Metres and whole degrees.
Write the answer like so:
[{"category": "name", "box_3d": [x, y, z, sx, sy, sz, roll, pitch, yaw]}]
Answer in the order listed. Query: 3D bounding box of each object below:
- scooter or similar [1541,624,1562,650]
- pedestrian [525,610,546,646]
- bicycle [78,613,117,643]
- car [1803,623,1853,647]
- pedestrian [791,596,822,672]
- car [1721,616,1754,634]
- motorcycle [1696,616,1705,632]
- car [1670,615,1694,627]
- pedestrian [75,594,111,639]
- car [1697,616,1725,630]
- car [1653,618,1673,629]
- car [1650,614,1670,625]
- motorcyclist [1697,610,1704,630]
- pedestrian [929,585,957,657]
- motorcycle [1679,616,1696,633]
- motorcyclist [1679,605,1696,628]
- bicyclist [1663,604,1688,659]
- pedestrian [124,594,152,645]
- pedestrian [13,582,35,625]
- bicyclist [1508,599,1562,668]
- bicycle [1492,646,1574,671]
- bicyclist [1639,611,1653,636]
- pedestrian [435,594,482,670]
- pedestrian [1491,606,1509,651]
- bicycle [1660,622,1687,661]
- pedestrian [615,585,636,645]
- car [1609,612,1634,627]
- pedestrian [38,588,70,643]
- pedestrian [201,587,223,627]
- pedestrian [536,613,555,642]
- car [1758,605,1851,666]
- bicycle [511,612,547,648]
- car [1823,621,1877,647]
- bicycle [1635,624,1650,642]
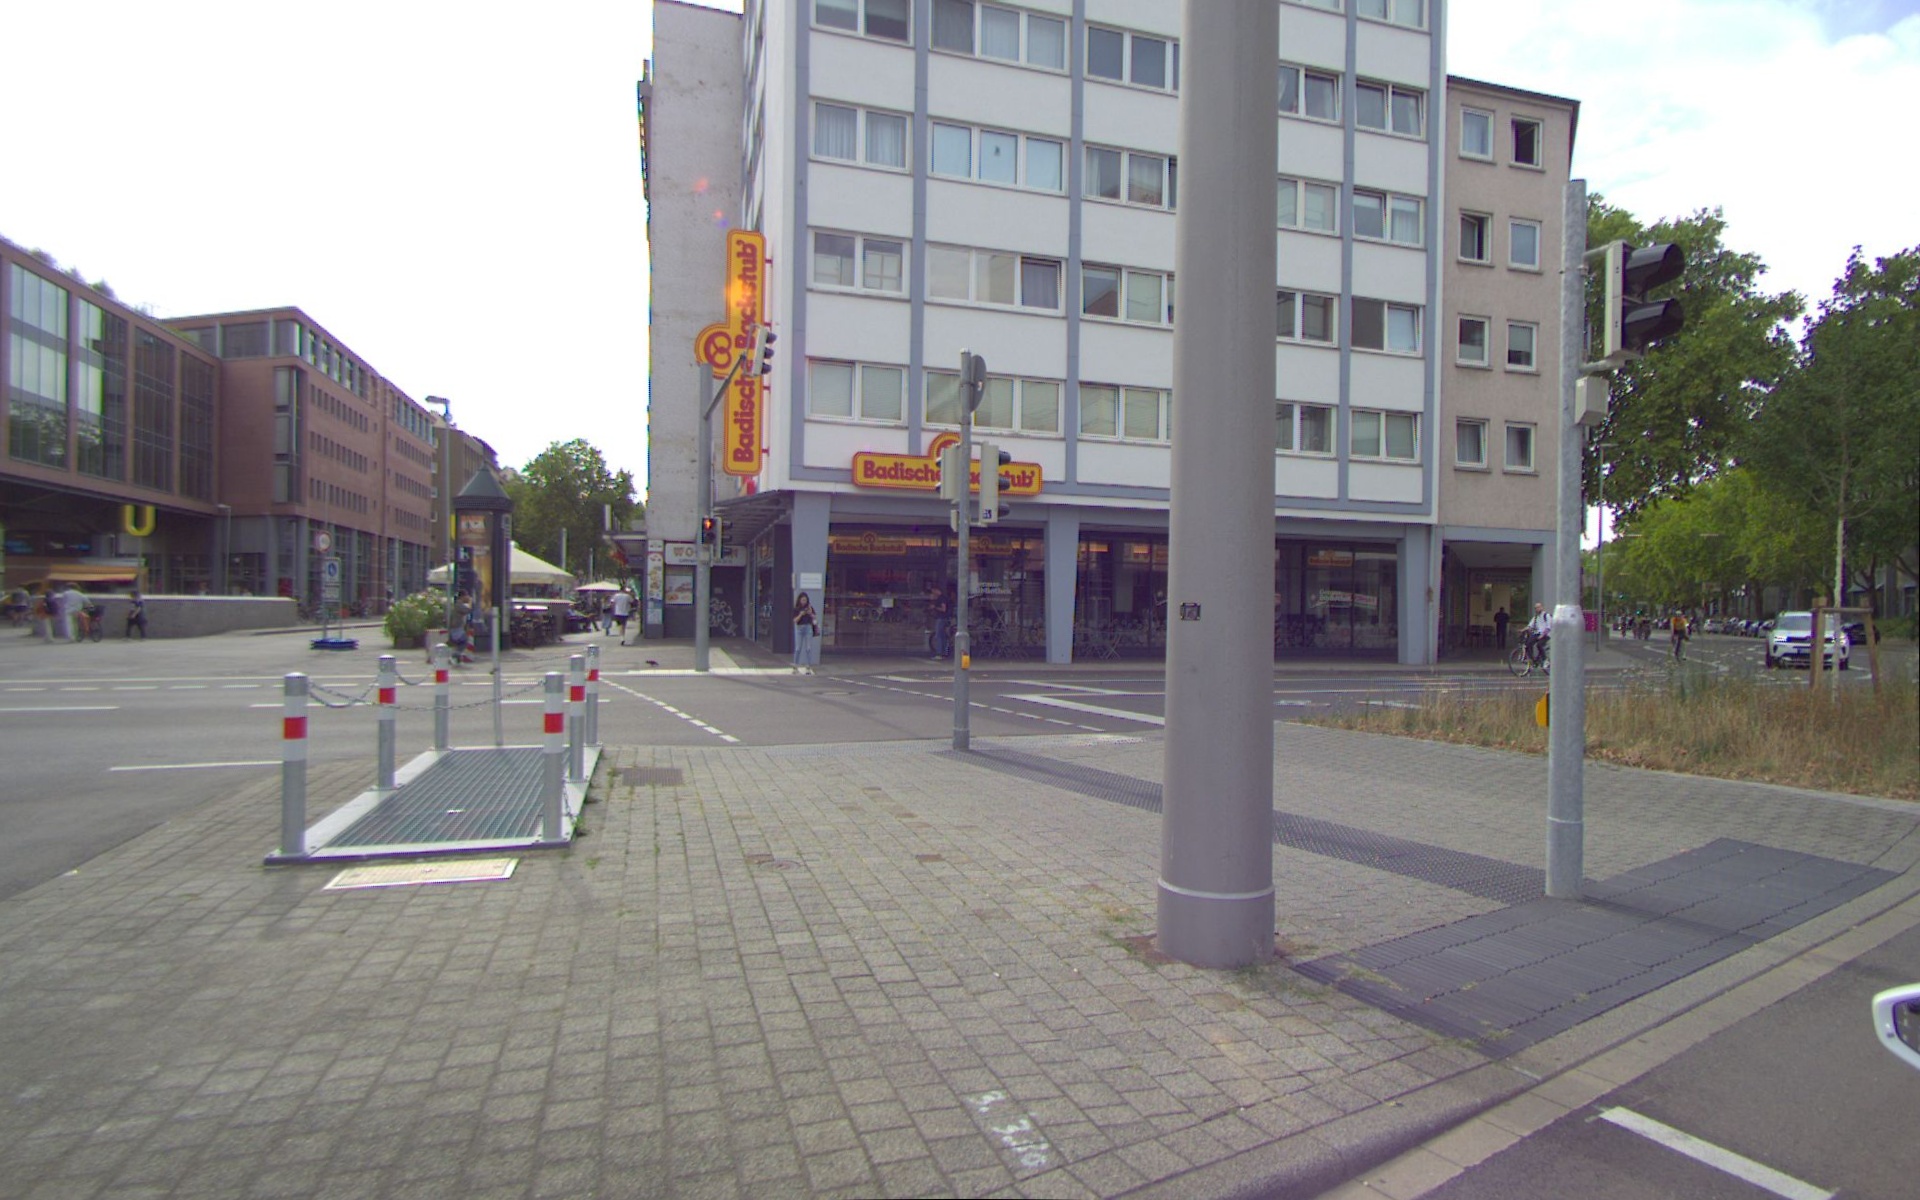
[{"category": "scooter or similar", "box_3d": [30.438, 1.911, 51.686, 0.282, 1.281, 1.175, 1, 0, -8]}, {"category": "pedestrian", "box_3d": [-13.724, 0.893, 32.489, 0.439, 1.148, 0.528, 1, 0, -45]}, {"category": "bicycle", "box_3d": [-26.974, 0.863, 31.392, 1.758, 0.900, 0.472, 1, 0, 34]}, {"category": "car", "box_3d": [57.676, 2.281, 66.798, 1.633, 1.441, 3.940, 1, 0, 28]}, {"category": "pedestrian", "box_3d": [-3.225, 0.710, 21.055, 0.511, 1.580, 0.497, 1, 0, -23]}, {"category": "car", "box_3d": [69.540, 2.253, 89.877, 1.605, 1.489, 4.312, 1, 0, 28]}, {"category": "motorcycle", "box_3d": [63.779, 2.043, 86.512, 0.367, 1.368, 1.729, 1, 0, 28]}, {"category": "car", "box_3d": [85.920, 2.471, 119.545, 1.616, 1.432, 3.413, 1, 0, 25]}, {"category": "pedestrian", "box_3d": [-27.204, 0.505, 31.506, 0.850, 1.393, 0.631, 1, 0, 32]}, {"category": "car", "box_3d": [79.218, 2.443, 105.961, 1.650, 1.412, 4.455, 1, 0, 28]}, {"category": "car", "box_3d": [92.733, 3.142, 132.560, 1.650, 1.412, 3.873, 1, 0, 28]}, {"category": "car", "box_3d": [95.766, 2.653, 137.429, 1.650, 1.412, 3.873, 1, 0, 28]}, {"category": "motorcyclist", "box_3d": [63.800, 1.720, 86.553, 0.440, 1.669, 0.518, 1, 0, 29]}, {"category": "pedestrian", "box_3d": [-0.426, 0.514, 25.295, 0.579, 1.789, 0.476, 0, 0, -17]}, {"category": "motorcycle", "box_3d": [47.834, 1.600, 66.042, 0.711, 1.109, 2.031, -1, -2, 32]}, {"category": "motorcyclist", "box_3d": [47.903, 1.113, 66.162, 0.785, 1.479, 0.863, -1, -2, 32]}, {"category": "bicyclist", "box_3d": [23.499, 1.028, 33.002, 0.529, 1.766, 0.757, 1, 0, 26]}, {"category": "pedestrian", "box_3d": [-25.933, 0.620, 31.685, 0.512, 1.598, 0.506, 1, 0, -14]}, {"category": "pedestrian", "box_3d": [-37.148, 0.130, 39.867, 0.456, 1.685, 0.519, 1, 0, -16]}, {"category": "bicyclist", "box_3d": [14.216, 0.826, 24.849, 1.020, 1.668, 0.608, 1, 0, -14]}, {"category": "bicycle", "box_3d": [14.228, 1.457, 24.952, 1.964, 0.596, 0.484, 1, 0, -14]}, {"category": "bicyclist", "box_3d": [44.577, 1.533, 65.301, 0.648, 1.546, 0.999, 3, 2, 33]}, {"category": "pedestrian", "box_3d": [-10.987, 0.693, 22.016, 0.648, 1.615, 0.687, 1, 0, 31]}, {"category": "pedestrian", "box_3d": [22.144, 1.168, 41.201, 0.572, 1.780, 0.783, 3, 1, 29]}, {"category": "bicycle", "box_3d": [23.402, 1.343, 32.943, 0.504, 1.241, 1.561, 1, 0, 28]}, {"category": "pedestrian", "box_3d": [-10.676, 0.468, 32.051, 0.571, 1.883, 0.861, 1, 0, -17]}, {"category": "car", "box_3d": [68.658, 2.018, 104.325, 1.783, 1.426, 4.601, 1, -1, 29]}, {"category": "pedestrian", "box_3d": [-27.721, 0.472, 30.738, 0.459, 1.663, 0.631, 1, 0, 35]}, {"category": "pedestrian", "box_3d": [-32.437, 0.308, 43.558, 0.571, 1.685, 0.519, 1, 0, -16]}, {"category": "pedestrian", "box_3d": [-14.300, 0.959, 34.679, 0.514, 0.974, 0.458, 1, 0, -12]}, {"category": "car", "box_3d": [25.519, 1.025, 30.298, 1.813, 1.682, 4.297, 1, 0, 45]}, {"category": "bicycle", "box_3d": [-12.926, 0.882, 30.087, 0.469, 1.002, 1.767, 1, 0, -40]}, {"category": "car", "box_3d": [55.515, 2.103, 62.726, 1.633, 1.441, 3.860, 1, 0, 28]}, {"category": "bicycle", "box_3d": [44.194, 2.127, 65.066, 0.727, 1.020, 1.904, 3, 2, 33]}]
